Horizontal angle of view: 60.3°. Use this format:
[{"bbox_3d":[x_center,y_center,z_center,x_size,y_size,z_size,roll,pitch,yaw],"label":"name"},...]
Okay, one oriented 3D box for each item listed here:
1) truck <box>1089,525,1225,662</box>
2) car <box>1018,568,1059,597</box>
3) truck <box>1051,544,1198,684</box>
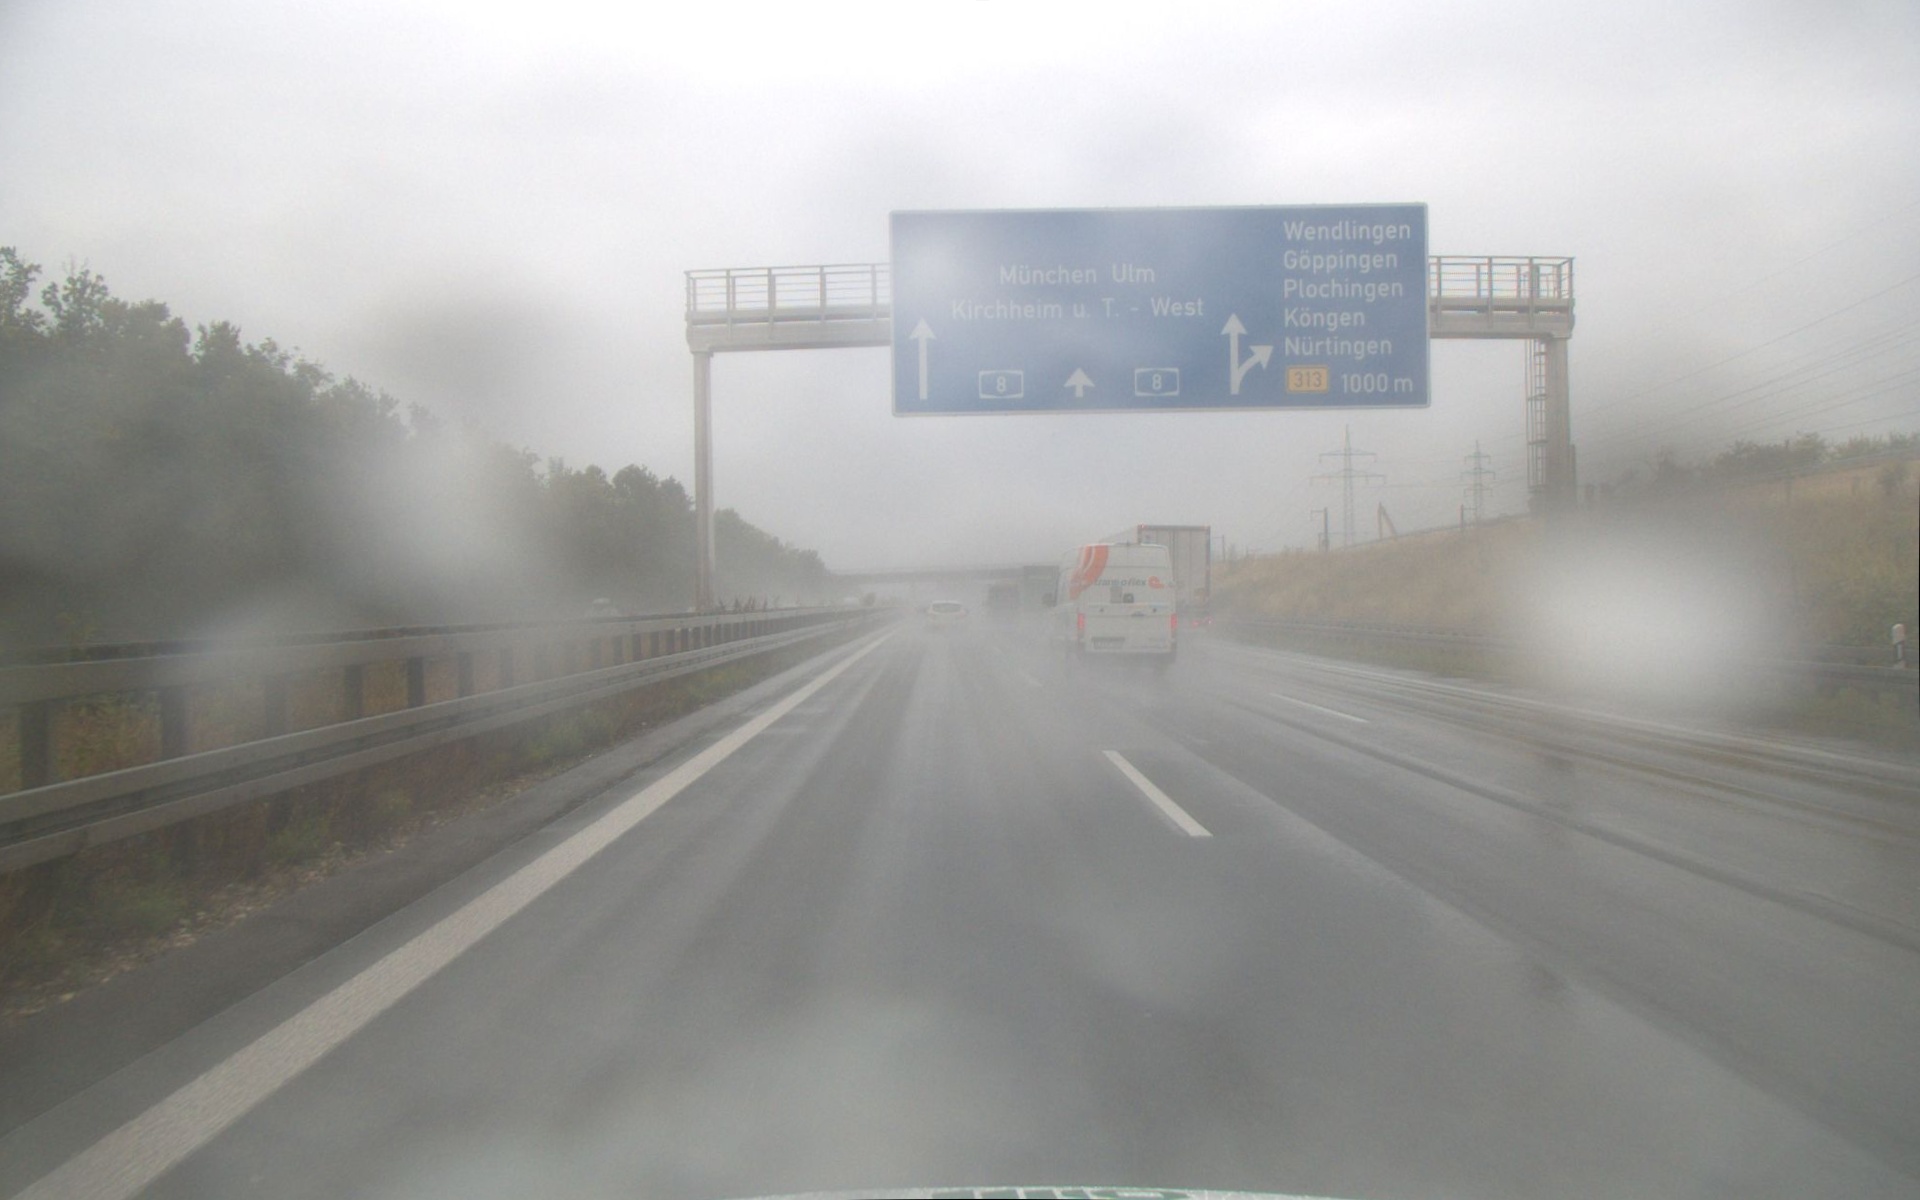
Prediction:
[{"bbox_3d":[7.452,-0.216,65.424,2.978,4.668,16.345,1,0,-1],"label":"truck"},{"bbox_3d":[5.865,-1.308,123.823,2.731,2.049,4.992,1,1,-1],"label":"car"},{"bbox_3d":[3.173,0.212,33.214,2.370,2.536,5.560,1,1,0],"label":"truck"}]
